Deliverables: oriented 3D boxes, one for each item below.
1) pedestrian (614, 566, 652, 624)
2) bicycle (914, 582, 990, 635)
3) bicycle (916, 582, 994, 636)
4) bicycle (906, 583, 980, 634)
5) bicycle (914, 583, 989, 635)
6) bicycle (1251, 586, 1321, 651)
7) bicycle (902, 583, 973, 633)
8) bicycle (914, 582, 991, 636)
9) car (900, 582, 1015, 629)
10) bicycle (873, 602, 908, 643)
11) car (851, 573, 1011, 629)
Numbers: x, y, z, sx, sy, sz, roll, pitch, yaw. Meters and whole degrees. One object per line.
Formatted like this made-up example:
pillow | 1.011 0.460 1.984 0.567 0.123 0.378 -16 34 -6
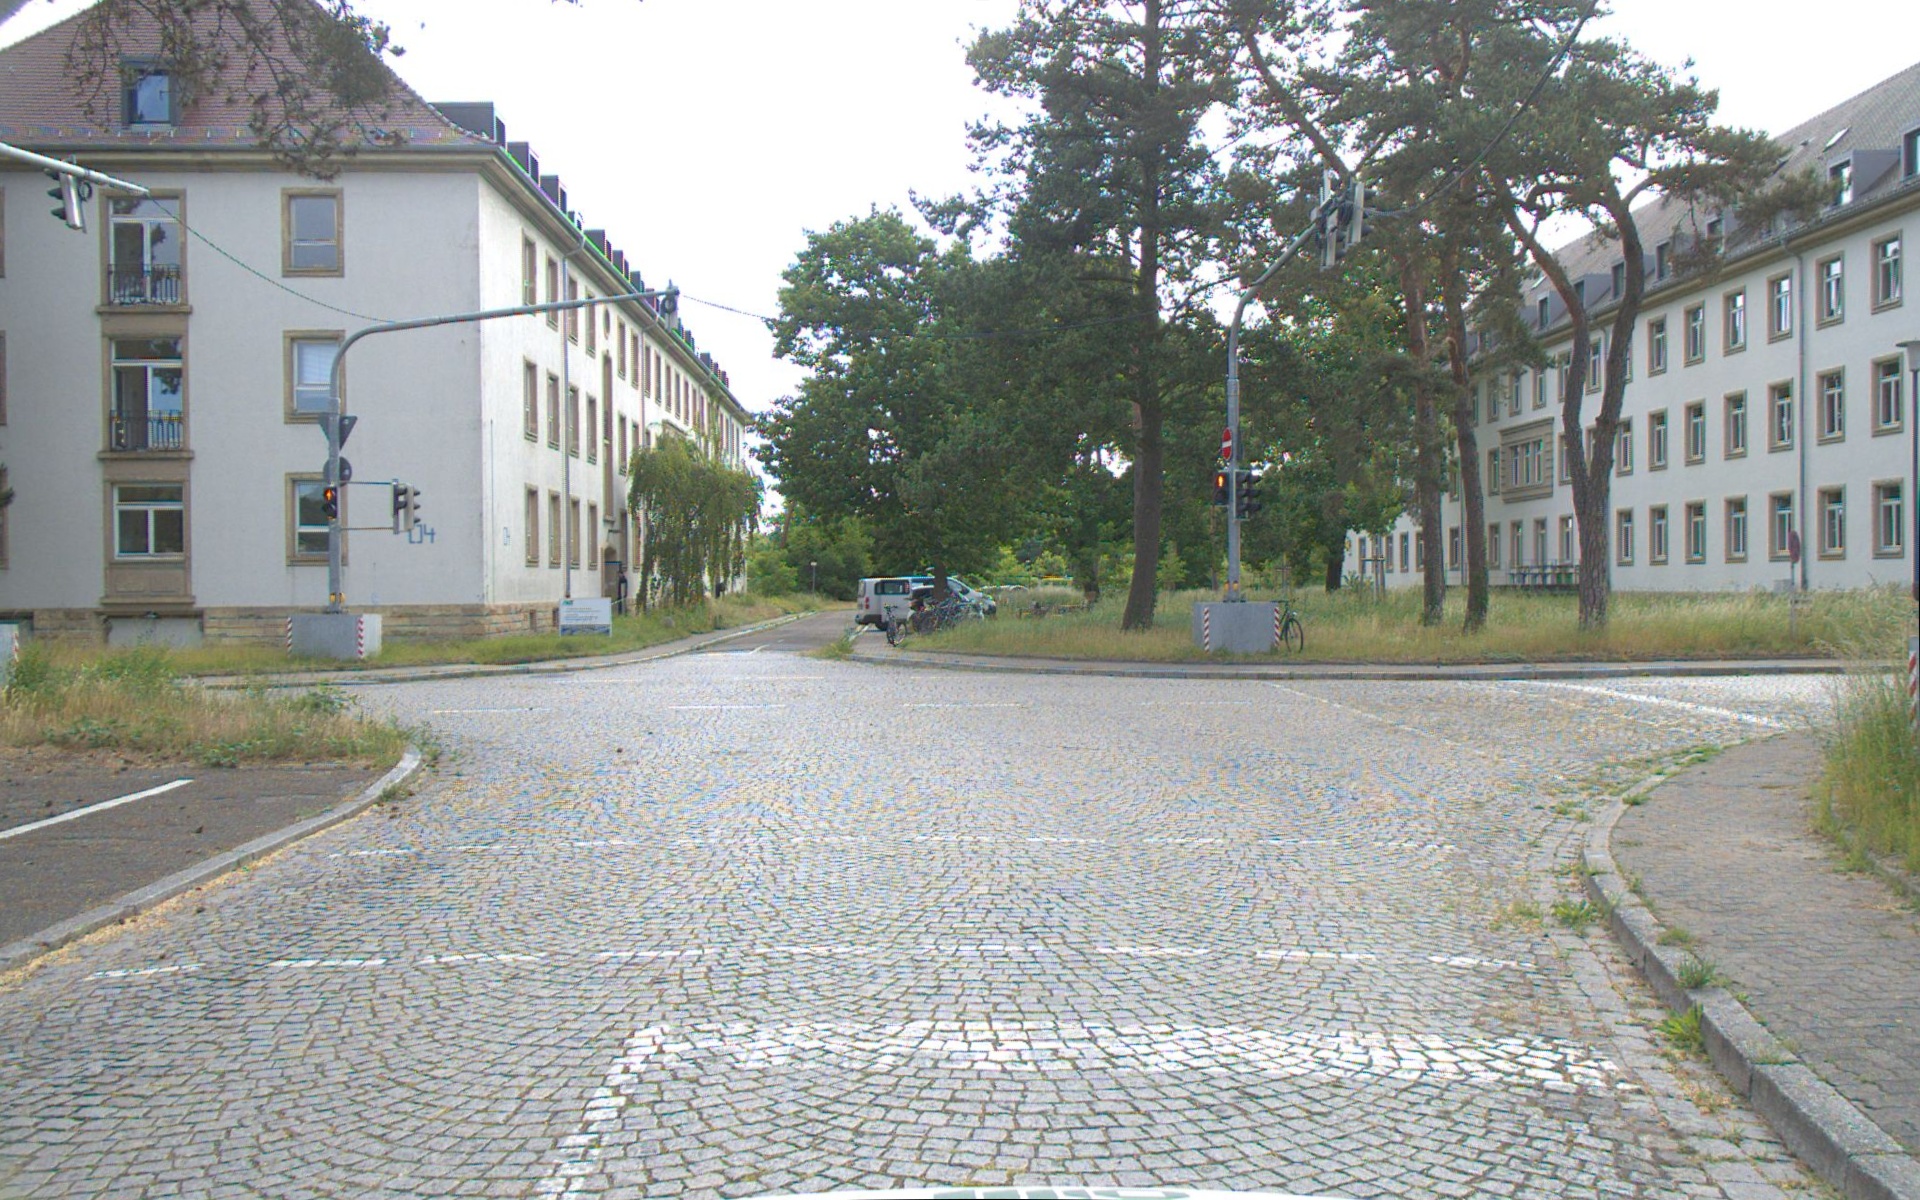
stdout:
pedestrian | -11.579 -0.181 58.632 1.064 2.049 1.022 -1 0 4
bicycle | -0.218 0.233 44.757 2.028 1.402 0.620 -1 0 -1
bicycle | -0.135 0.236 43.463 2.028 1.402 0.620 -1 0 -1
bicycle | -0.477 0.225 46.345 2.028 1.402 0.620 -1 0 -1
bicycle | -0.232 0.233 45.553 2.028 1.402 0.620 -1 0 -1
bicycle | 6.169 0.337 31.374 0.890 1.197 1.873 -1 0 -2
bicycle | -0.653 0.222 47.825 2.028 1.402 0.620 -1 0 -1
bicycle | -0.197 0.234 44.132 2.028 1.402 0.620 -1 0 -1
car | -0.120 0.189 57.987 3.857 1.571 1.997 -1 0 -6
bicycle | -1.744 0.546 41.621 0.605 0.980 2.078 -1 0 5
car | -1.091 0.022 61.329 5.595 1.943 2.222 -1 0 -14
